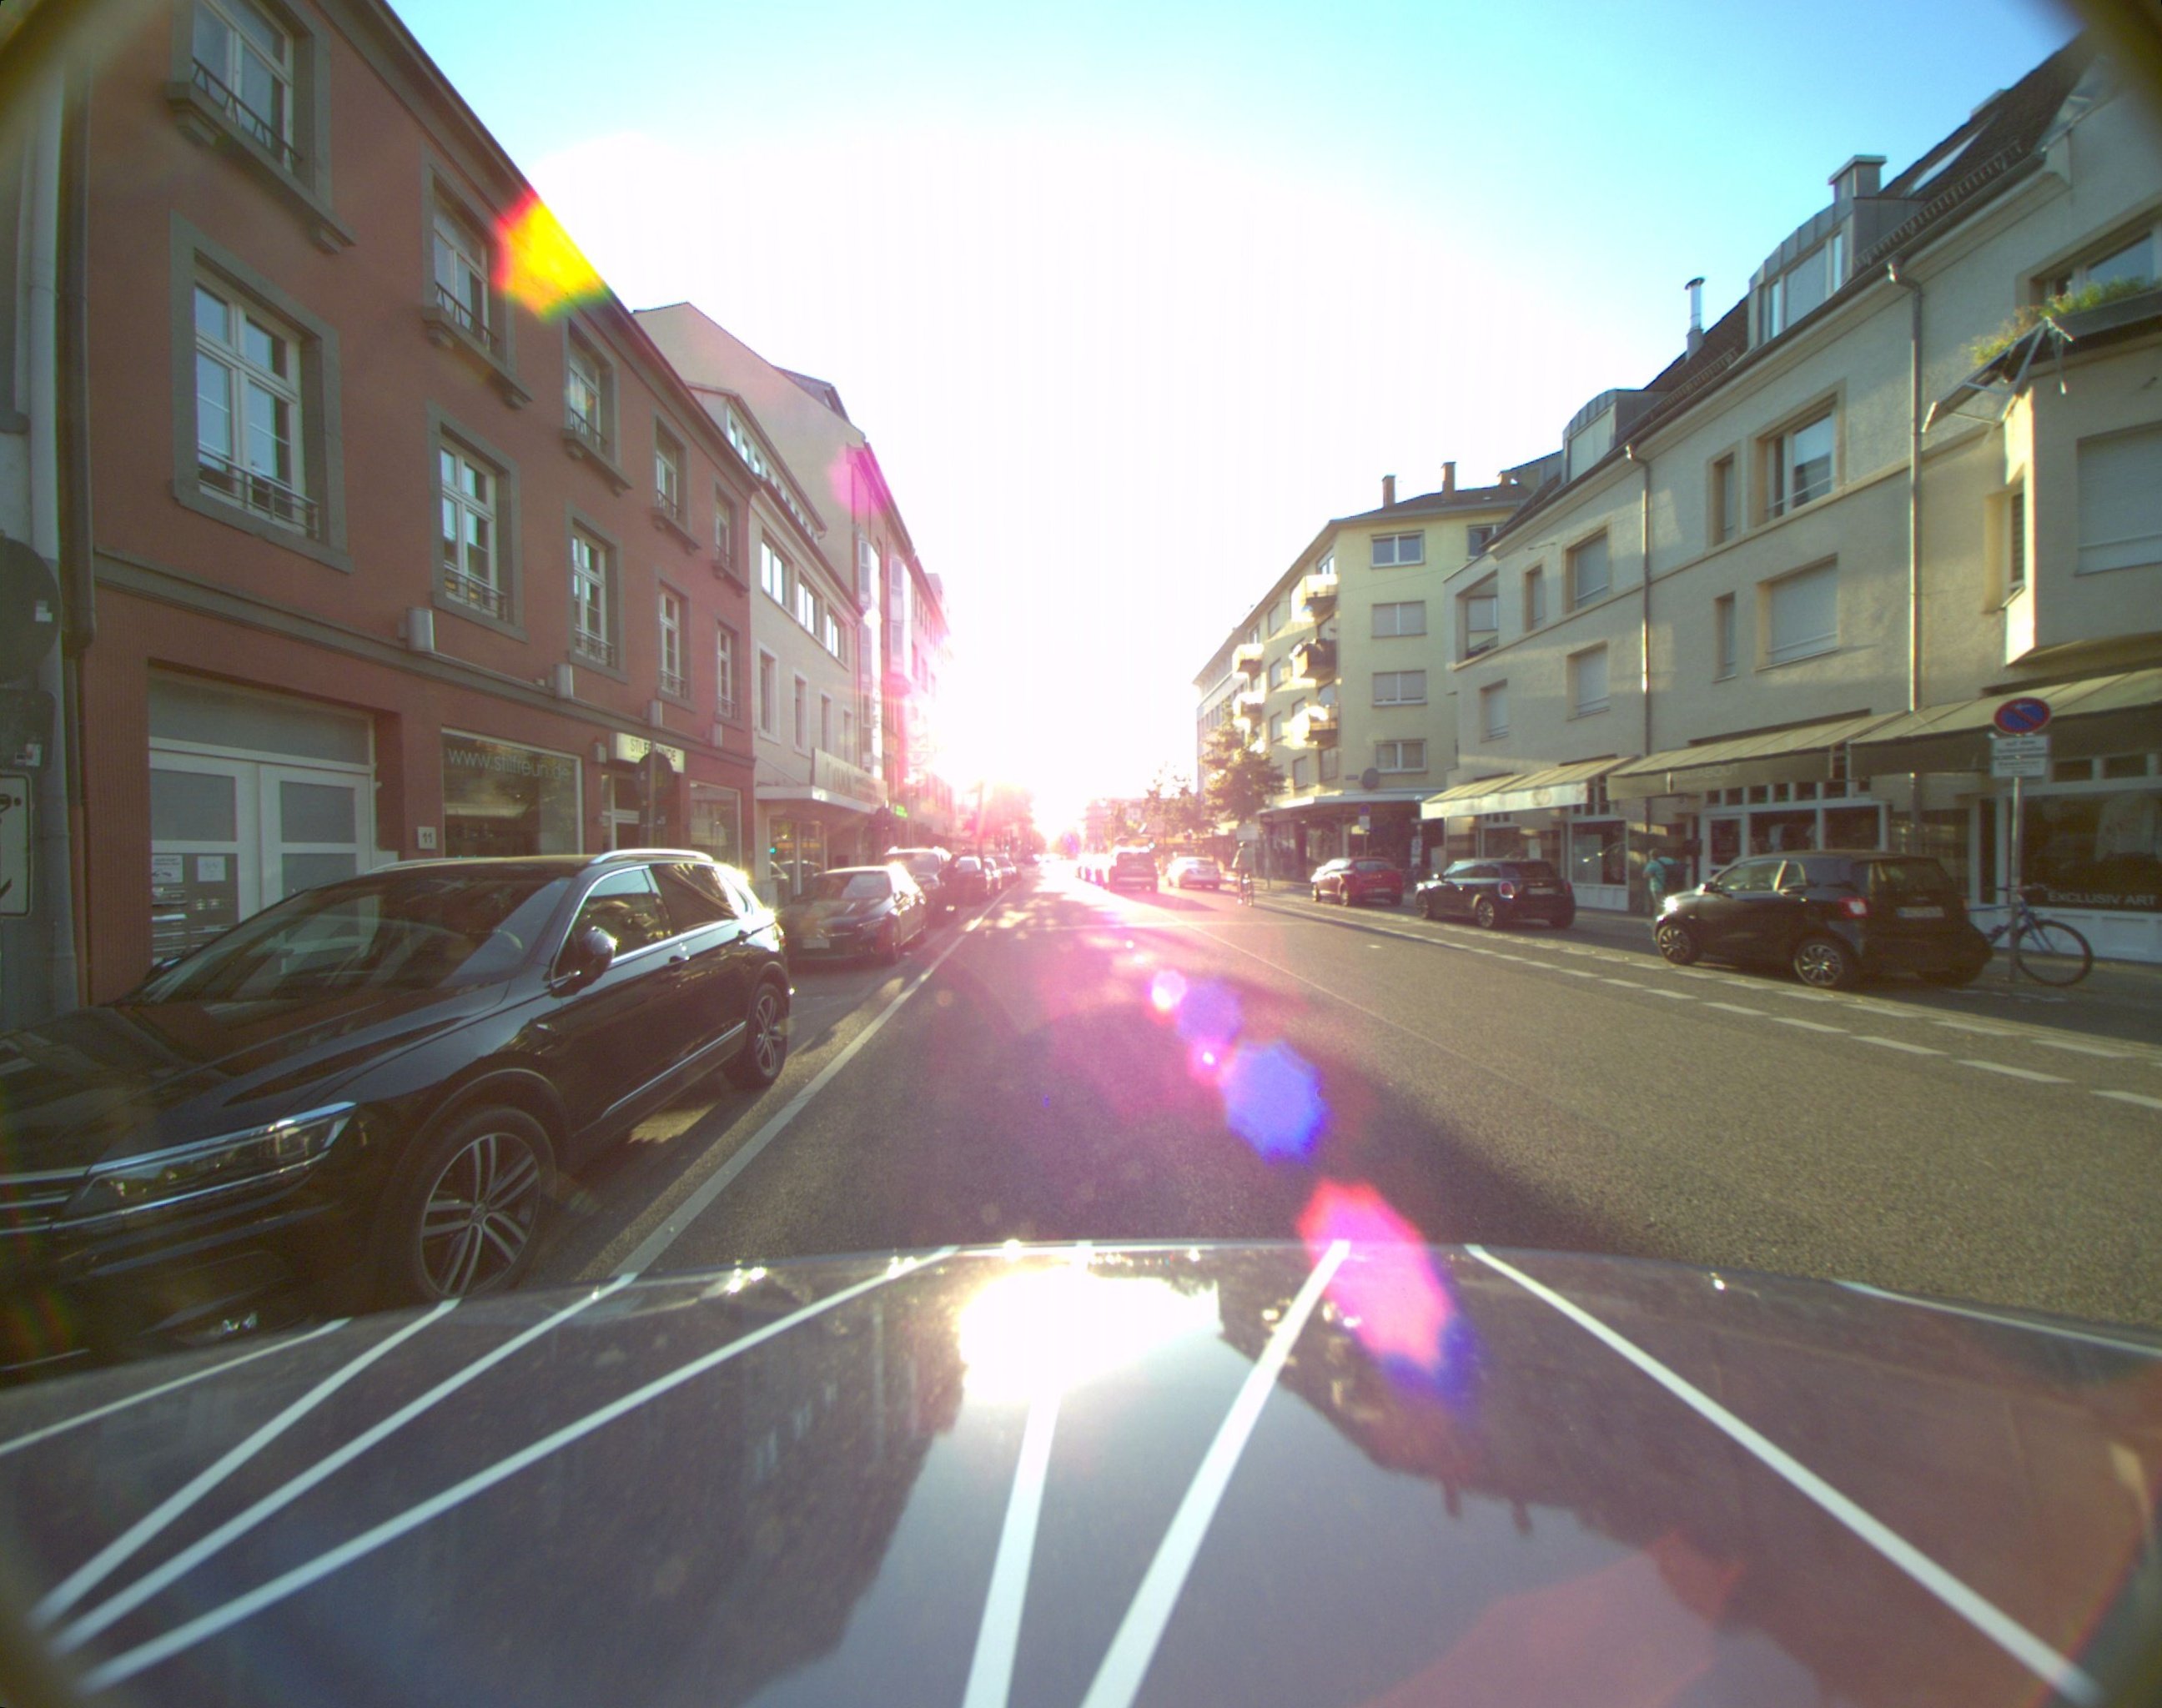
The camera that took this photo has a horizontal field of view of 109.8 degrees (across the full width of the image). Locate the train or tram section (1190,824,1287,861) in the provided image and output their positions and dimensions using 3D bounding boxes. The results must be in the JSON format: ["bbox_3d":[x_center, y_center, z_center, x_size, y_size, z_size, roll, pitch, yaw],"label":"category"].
[{"bbox_3d":[18.122,-1.387,86.761,11.863,3.788,3.139,-3,1,-32],"label":"train or tram section"}]

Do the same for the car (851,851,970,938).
[{"bbox_3d":[-3.955,0.832,18.591,1.999,1.767,5.316,-2,1,-4],"label":"car"}]

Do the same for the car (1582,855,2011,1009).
[{"bbox_3d":[8.952,0.828,10.079,1.794,1.571,3.965,-1,1,-4],"label":"car"}]

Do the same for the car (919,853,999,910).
[{"bbox_3d":[-3.972,0.831,25.468,1.999,1.645,4.626,-2,1,-1],"label":"car"}]

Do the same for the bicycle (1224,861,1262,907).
[{"bbox_3d":[4.744,0.846,22.395,0.665,1.235,2.130,1,1,1],"label":"bicycle"}]

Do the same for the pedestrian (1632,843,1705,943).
[{"bbox_3d":[10.502,0.669,13.595,0.720,1.724,0.738,-1,1,-2],"label":"pedestrian"}]

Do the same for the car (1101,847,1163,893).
[{"bbox_3d":[1.925,0.560,29.924,1.843,1.639,4.298,1,1,-3],"label":"car"}]

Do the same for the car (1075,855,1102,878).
[{"bbox_3d":[0.470,0.790,50.355,1.503,1.426,4.026,1,1,-3],"label":"car"}]

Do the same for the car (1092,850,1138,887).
[{"bbox_3d":[1.584,0.650,36.941,1.843,1.639,4.299,1,1,-2],"label":"car"}]

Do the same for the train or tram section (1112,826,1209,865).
[{"bbox_3d":[8.577,-0.950,80.811,10.456,3.788,3.139,-3,1,-32],"label":"train or tram section"}]

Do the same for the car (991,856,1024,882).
[{"bbox_3d":[-4.515,0.895,46.850,1.694,1.494,3.786,-1,1,-1],"label":"car"}]

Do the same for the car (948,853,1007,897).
[{"bbox_3d":[-4.180,0.800,31.364,1.999,1.645,4.478,-1,1,-3],"label":"car"}]

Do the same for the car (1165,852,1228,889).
[{"bbox_3d":[5.249,0.697,35.084,1.999,1.595,4.403,0,0,-3],"label":"car"}]

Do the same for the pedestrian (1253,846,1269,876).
[{"bbox_3d":[10.614,0.409,44.803,0.720,1.781,0.666,-1,1,-1],"label":"pedestrian"}]

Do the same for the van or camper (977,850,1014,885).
[{"bbox_3d":[-4.650,0.680,40.963,1.794,1.763,4.554,-1,1,-8],"label":"van or camper"}]

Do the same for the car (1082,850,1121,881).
[{"bbox_3d":[1.111,0.640,43.676,1.843,1.639,4.298,1,1,-3],"label":"car"}]

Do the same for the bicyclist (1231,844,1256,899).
[{"bbox_3d":[4.709,0.493,22.066,0.548,1.571,0.803,-1,1,1],"label":"bicyclist"}]

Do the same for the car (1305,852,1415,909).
[{"bbox_3d":[8.423,0.743,23.295,1.794,1.571,3.785,-1,1,-4],"label":"car"}]

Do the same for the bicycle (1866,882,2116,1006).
[{"bbox_3d":[10.497,0.979,8.905,0.560,1.199,1.977,0,1,0],"label":"bicycle"}]

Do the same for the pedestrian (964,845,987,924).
[{"bbox_3d":[-2.544,0.724,18.299,0.485,1.847,0.539,-1,1,-10],"label":"pedestrian"}]

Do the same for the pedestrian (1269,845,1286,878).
[{"bbox_3d":[11.033,0.412,42.727,0.720,1.781,0.666,-1,1,-1],"label":"pedestrian"}]

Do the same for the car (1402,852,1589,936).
[{"bbox_3d":[8.737,0.760,16.424,1.794,1.571,3.785,-1,1,-4],"label":"car"}]

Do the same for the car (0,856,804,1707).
[{"bbox_3d":[-3.014,0.921,3.708,1.799,1.688,4.458,-3,1,-3],"label":"car"}]

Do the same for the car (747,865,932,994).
[{"bbox_3d":[-3.614,1.030,12.258,1.689,1.480,4.409,-3,1,-3],"label":"car"}]
